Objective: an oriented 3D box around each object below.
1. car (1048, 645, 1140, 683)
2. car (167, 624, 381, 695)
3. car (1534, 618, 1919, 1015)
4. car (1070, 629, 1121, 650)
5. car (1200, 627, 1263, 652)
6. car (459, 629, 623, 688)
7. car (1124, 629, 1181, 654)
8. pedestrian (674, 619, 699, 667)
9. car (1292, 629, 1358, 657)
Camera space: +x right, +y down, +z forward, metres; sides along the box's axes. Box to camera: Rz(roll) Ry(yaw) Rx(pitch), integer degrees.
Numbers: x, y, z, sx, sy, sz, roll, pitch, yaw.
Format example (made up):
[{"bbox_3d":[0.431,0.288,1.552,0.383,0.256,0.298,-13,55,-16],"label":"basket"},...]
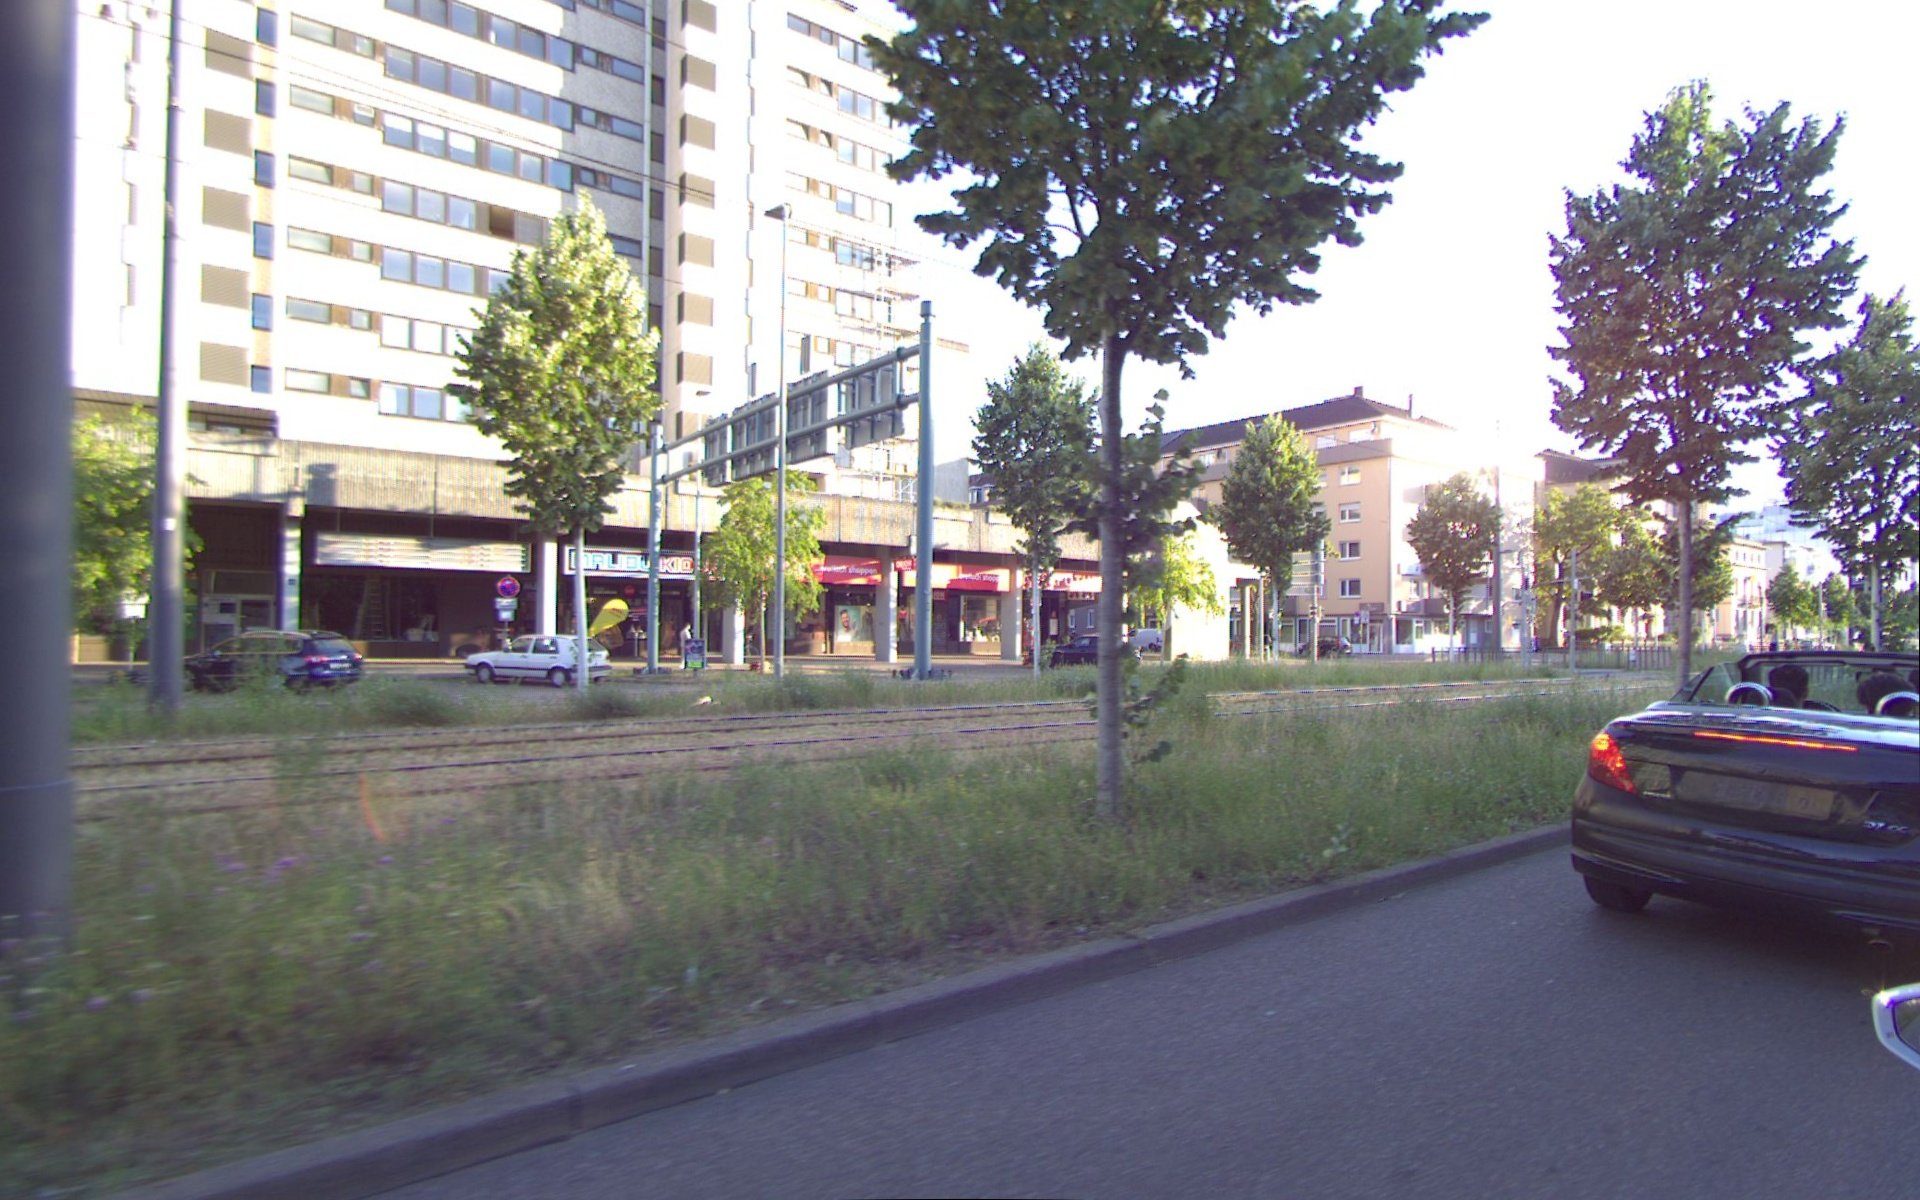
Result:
[{"bbox_3d":[5.575,2.636,41.671,3.654,1.469,1.745,0,-2,12],"label":"car"},{"bbox_3d":[-16.871,1.427,24.797,4.198,1.611,2.011,0,-1,13],"label":"car"},{"bbox_3d":[4.851,0.846,5.376,3.865,1.469,1.706,1,0,-37],"label":"car"},{"bbox_3d":[12.163,3.569,90.308,2.097,1.779,4.297,2,-2,-37],"label":"car"},{"bbox_3d":[21.156,3.100,78.458,2.147,1.792,4.298,0,-3,-37],"label":"car"},{"bbox_3d":[-12.012,1.641,28.854,4.047,1.455,1.826,2,0,15],"label":"car"},{"bbox_3d":[16.169,3.479,84.640,2.147,2.016,4.454,2,-2,-37],"label":"car"},{"bbox_3d":[-9.699,1.511,35.626,0.655,1.683,0.659,1,-1,-36],"label":"pedestrian"},{"bbox_3d":[26.053,3.040,71.747,2.172,1.870,3.905,2,-2,-37],"label":"car"}]
